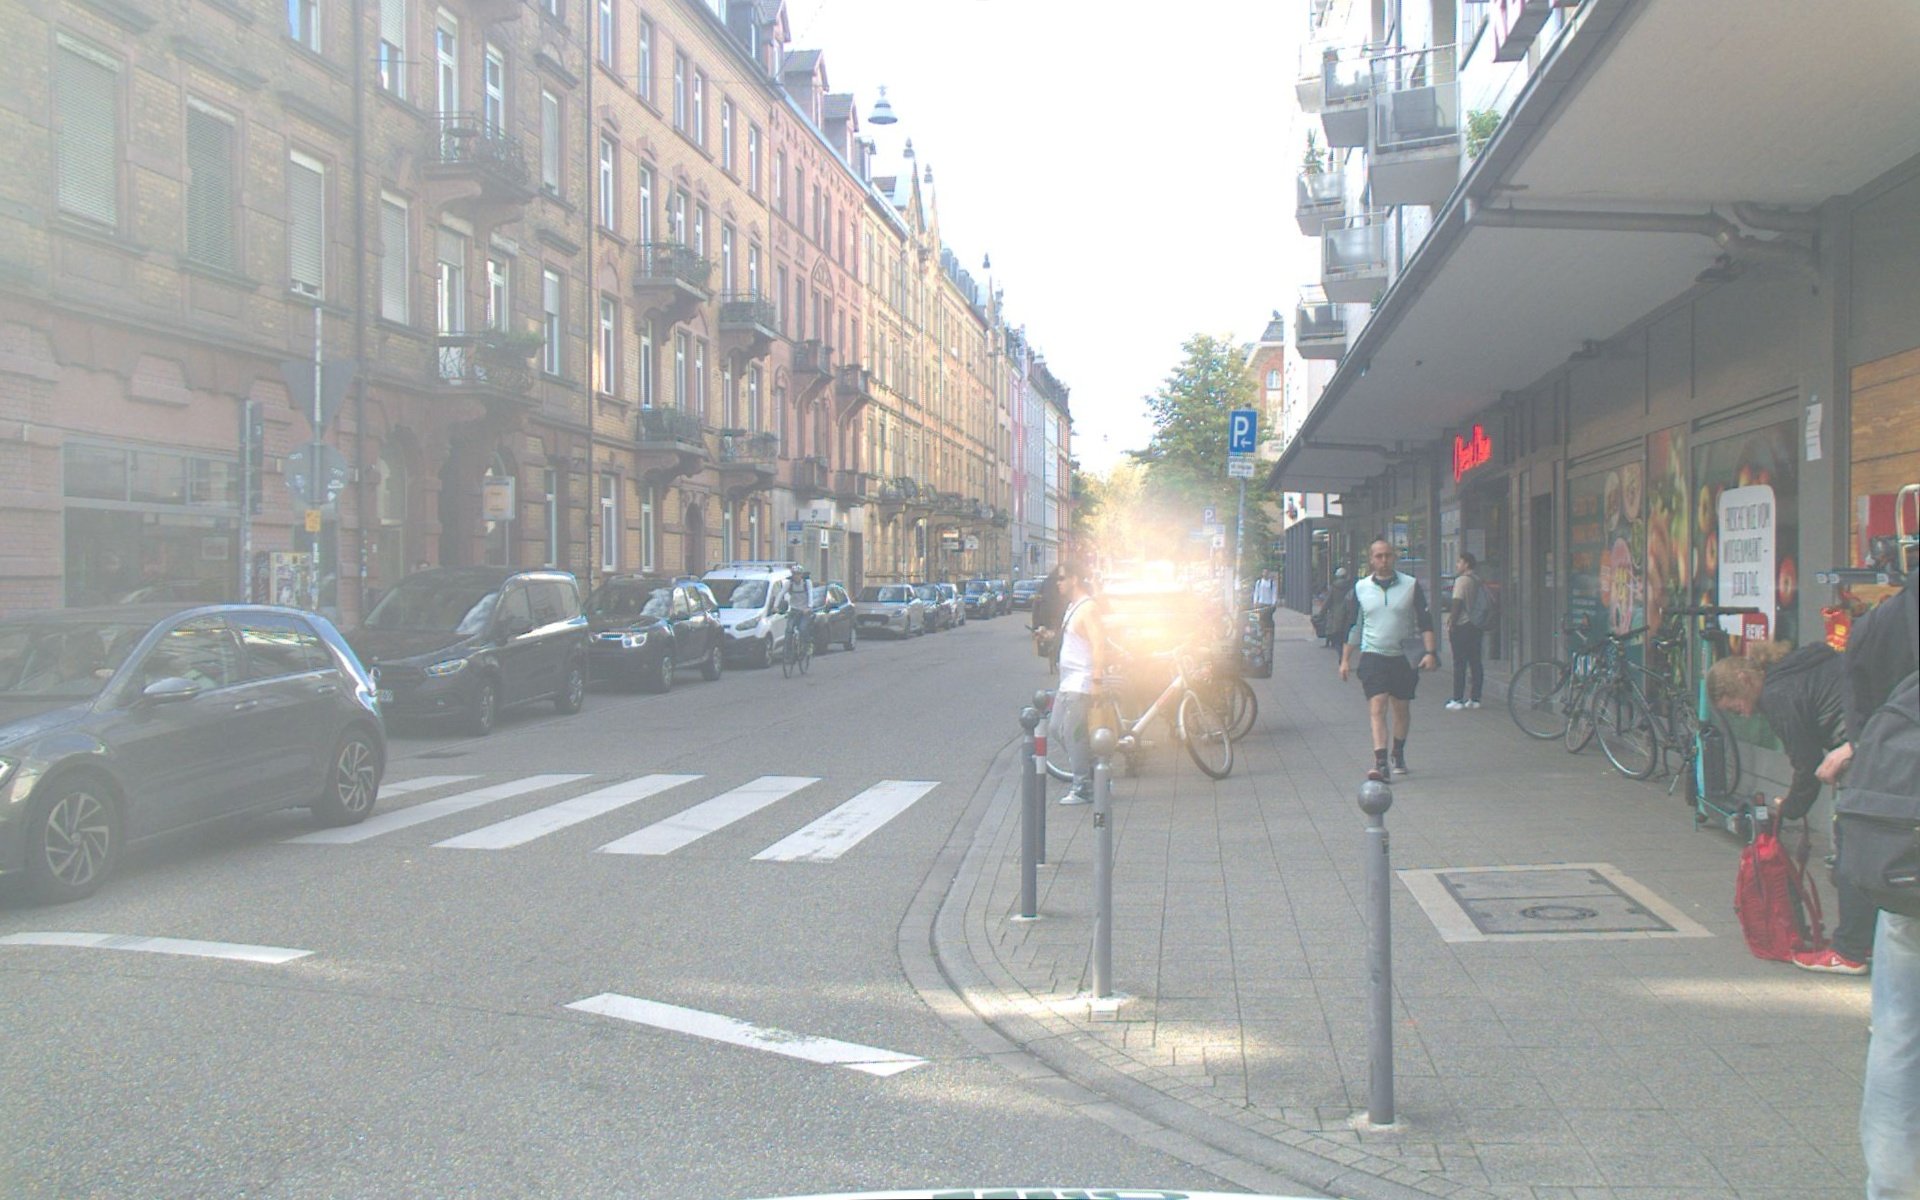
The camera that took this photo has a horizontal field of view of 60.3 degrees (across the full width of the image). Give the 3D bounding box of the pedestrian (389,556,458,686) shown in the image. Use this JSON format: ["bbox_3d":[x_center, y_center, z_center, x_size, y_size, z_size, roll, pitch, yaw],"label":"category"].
[{"bbox_3d":[-7.974,0.295,24.598,0.662,1.872,0.858,2,1,2],"label":"pedestrian"}]

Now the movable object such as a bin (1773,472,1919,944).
[{"bbox_3d":[4.029,0.400,6.516,0.763,1.775,2.425,0,1,8],"label":"movable object such as a bin"}]

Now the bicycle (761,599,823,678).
[{"bbox_3d":[-2.803,0.625,27.779,0.686,1.241,2.118,0,1,3],"label":"bicycle"}]

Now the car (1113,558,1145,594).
[{"bbox_3d":[10.149,-1.463,99.296,1.744,2.055,3.891,1,1,7],"label":"car"}]

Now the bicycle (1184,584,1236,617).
[{"bbox_3d":[8.797,0.029,58.267,1.728,1.075,0.411,-3,1,3],"label":"bicycle"}]

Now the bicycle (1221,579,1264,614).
[{"bbox_3d":[10.149,-0.121,59.504,1.463,1.166,0.412,-2,1,9],"label":"bicycle"}]

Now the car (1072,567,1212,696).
[{"bbox_3d":[2.703,0.379,23.872,1.754,1.633,3.928,-3,1,9],"label":"car"}]

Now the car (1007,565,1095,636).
[{"bbox_3d":[2.438,0.007,43.515,1.923,1.771,4.044,0,0,9],"label":"car"}]

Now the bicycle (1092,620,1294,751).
[{"bbox_3d":[2.150,0.783,15.380,1.752,1.089,0.569,-2,1,-2],"label":"bicycle"}]

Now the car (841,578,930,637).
[{"bbox_3d":[-2.020,0.174,45.927,1.704,1.509,3.987,2,1,8],"label":"car"}]

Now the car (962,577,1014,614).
[{"bbox_3d":[1.216,-0.214,69.945,1.654,1.462,3.870,2,1,8],"label":"car"}]

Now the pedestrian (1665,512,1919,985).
[{"bbox_3d":[3.172,0.527,6.235,0.706,1.661,0.713,-3,1,6],"label":"pedestrian"}]

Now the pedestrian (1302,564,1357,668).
[{"bbox_3d":[5.882,0.247,26.346,0.806,1.616,0.781,-1,0,10],"label":"pedestrian"}]

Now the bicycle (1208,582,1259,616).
[{"bbox_3d":[9.707,-0.033,58.779,1.728,1.106,0.651,-2,1,11],"label":"bicycle"}]

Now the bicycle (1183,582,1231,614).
[{"bbox_3d":[9.282,-0.058,62.139,1.728,1.118,0.412,-2,1,11],"label":"bicycle"}]

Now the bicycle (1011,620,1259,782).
[{"bbox_3d":[1.393,0.789,13.193,1.842,1.145,0.908,-3,1,6],"label":"bicycle"}]

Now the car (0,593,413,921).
[{"bbox_3d":[-4.882,0.729,9.293,1.753,1.463,4.003,-2,0,9],"label":"car"}]

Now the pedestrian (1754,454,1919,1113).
[{"bbox_3d":[2.967,0.479,4.694,0.832,1.777,1.048,-3,1,-2],"label":"pedestrian"}]

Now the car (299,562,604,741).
[{"bbox_3d":[-5.769,0.490,19.392,1.722,1.804,4.410,2,1,7],"label":"car"}]

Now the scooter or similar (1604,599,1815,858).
[{"bbox_3d":[3.952,0.639,8.813,0.618,1.234,1.257,-2,1,6],"label":"scooter or similar"}]

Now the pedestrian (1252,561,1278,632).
[{"bbox_3d":[7.701,-0.104,41.754,0.599,1.756,1.127,-1,1,9],"label":"pedestrian"}]

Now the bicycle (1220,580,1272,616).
[{"bbox_3d":[9.975,-0.066,57.678,1.728,1.182,0.651,-2,1,11],"label":"bicycle"}]

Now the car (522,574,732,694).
[{"bbox_3d":[-5.020,0.444,25.561,1.951,1.666,4.149,1,1,7],"label":"car"}]

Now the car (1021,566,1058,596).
[{"bbox_3d":[4.477,-1.064,92.697,1.654,1.577,3.870,1,0,8],"label":"car"}]

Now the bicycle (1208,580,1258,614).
[{"bbox_3d":[10.007,-0.121,60.580,1.734,1.166,0.410,-3,1,-12],"label":"bicycle"}]

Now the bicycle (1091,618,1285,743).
[{"bbox_3d":[2.191,0.765,15.993,1.752,1.089,0.586,-2,1,-2],"label":"bicycle"}]

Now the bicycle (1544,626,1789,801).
[{"bbox_3d":[4.728,0.722,11.206,0.664,1.061,1.729,-1,0,-11],"label":"bicycle"}]

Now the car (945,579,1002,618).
[{"bbox_3d":[0.557,-0.079,63.728,1.654,1.410,3.870,2,1,8],"label":"car"}]

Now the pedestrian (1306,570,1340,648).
[{"bbox_3d":[7.710,0.193,35.132,0.630,1.616,0.781,-2,0,10],"label":"pedestrian"}]

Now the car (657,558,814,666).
[{"bbox_3d":[-4.194,0.172,31.653,1.879,1.904,4.441,0,1,7],"label":"car"}]

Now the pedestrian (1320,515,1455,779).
[{"bbox_3d":[3.210,0.337,12.379,0.865,1.866,1.048,-2,0,16],"label":"pedestrian"}]

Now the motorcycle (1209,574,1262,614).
[{"bbox_3d":[11.639,-0.260,69.887,2.104,1.557,0.687,-2,1,13],"label":"motorcycle"}]

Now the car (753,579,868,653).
[{"bbox_3d":[-3.267,0.303,36.910,1.704,1.509,3.987,2,1,7],"label":"car"}]

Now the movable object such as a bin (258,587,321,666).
[{"bbox_3d":[-6.405,0.246,15.808,0.375,0.726,0.476,1,1,4],"label":"movable object such as a bin"}]

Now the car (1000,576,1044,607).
[{"bbox_3d":[3.017,-0.421,80.105,1.654,1.393,3.870,3,1,8],"label":"car"}]

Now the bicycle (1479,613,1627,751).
[{"bbox_3d":[5.021,0.665,14.108,0.726,1.033,1.784,-3,0,5],"label":"bicycle"}]

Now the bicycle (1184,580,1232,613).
[{"bbox_3d":[9.558,-0.121,63.814,1.756,1.179,0.501,-2,1,11],"label":"bicycle"}]

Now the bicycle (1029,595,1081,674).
[{"bbox_3d":[1.683,0.586,28.992,0.703,1.296,1.886,1,1,9],"label":"bicycle"}]

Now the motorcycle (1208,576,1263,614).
[{"bbox_3d":[11.130,-0.205,66.893,2.104,1.459,0.766,-2,1,13],"label":"motorcycle"}]

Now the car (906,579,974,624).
[{"bbox_3d":[-0.626,0.026,55.112,1.654,1.410,3.870,2,1,8],"label":"car"}]

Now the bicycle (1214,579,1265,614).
[{"bbox_3d":[10.150,-0.124,60.049,1.729,1.166,0.411,-3,1,3],"label":"bicycle"}]

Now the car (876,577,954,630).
[{"bbox_3d":[-1.328,0.079,50.439,1.704,1.509,3.987,2,1,8],"label":"car"}]

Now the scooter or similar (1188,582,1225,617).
[{"bbox_3d":[8.577,-0.009,57.589,1.187,1.167,0.377,-2,2,41],"label":"scooter or similar"}]

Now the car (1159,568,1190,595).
[{"bbox_3d":[13.678,-1.187,105.372,1.889,1.666,4.004,1,1,9],"label":"car"}]

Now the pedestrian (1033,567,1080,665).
[{"bbox_3d":[1.701,0.262,29.066,0.703,1.678,0.931,1,1,9],"label":"pedestrian"}]

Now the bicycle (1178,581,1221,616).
[{"bbox_3d":[8.637,-0.058,59.676,1.464,1.166,0.411,-3,1,3],"label":"bicycle"}]

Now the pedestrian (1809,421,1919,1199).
[{"bbox_3d":[2.531,0.482,3.940,0.702,1.828,0.629,-2,2,41],"label":"pedestrian"}]

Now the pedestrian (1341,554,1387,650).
[{"bbox_3d":[8.093,0.034,33.117,0.696,1.892,0.642,0,1,37],"label":"pedestrian"}]

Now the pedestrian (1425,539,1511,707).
[{"bbox_3d":[5.591,0.239,18.235,0.698,1.777,0.818,-3,1,6],"label":"pedestrian"}]

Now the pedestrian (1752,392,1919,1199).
[{"bbox_3d":[2.209,0.477,3.539,0.708,1.828,0.623,-4,2,-40],"label":"pedestrian"}]

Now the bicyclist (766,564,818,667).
[{"bbox_3d":[-2.813,0.246,27.791,0.686,1.707,1.113,0,1,3],"label":"bicyclist"}]

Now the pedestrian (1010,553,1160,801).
[{"bbox_3d":[0.904,0.530,11.774,0.997,1.700,0.805,-1,0,8],"label":"pedestrian"}]
